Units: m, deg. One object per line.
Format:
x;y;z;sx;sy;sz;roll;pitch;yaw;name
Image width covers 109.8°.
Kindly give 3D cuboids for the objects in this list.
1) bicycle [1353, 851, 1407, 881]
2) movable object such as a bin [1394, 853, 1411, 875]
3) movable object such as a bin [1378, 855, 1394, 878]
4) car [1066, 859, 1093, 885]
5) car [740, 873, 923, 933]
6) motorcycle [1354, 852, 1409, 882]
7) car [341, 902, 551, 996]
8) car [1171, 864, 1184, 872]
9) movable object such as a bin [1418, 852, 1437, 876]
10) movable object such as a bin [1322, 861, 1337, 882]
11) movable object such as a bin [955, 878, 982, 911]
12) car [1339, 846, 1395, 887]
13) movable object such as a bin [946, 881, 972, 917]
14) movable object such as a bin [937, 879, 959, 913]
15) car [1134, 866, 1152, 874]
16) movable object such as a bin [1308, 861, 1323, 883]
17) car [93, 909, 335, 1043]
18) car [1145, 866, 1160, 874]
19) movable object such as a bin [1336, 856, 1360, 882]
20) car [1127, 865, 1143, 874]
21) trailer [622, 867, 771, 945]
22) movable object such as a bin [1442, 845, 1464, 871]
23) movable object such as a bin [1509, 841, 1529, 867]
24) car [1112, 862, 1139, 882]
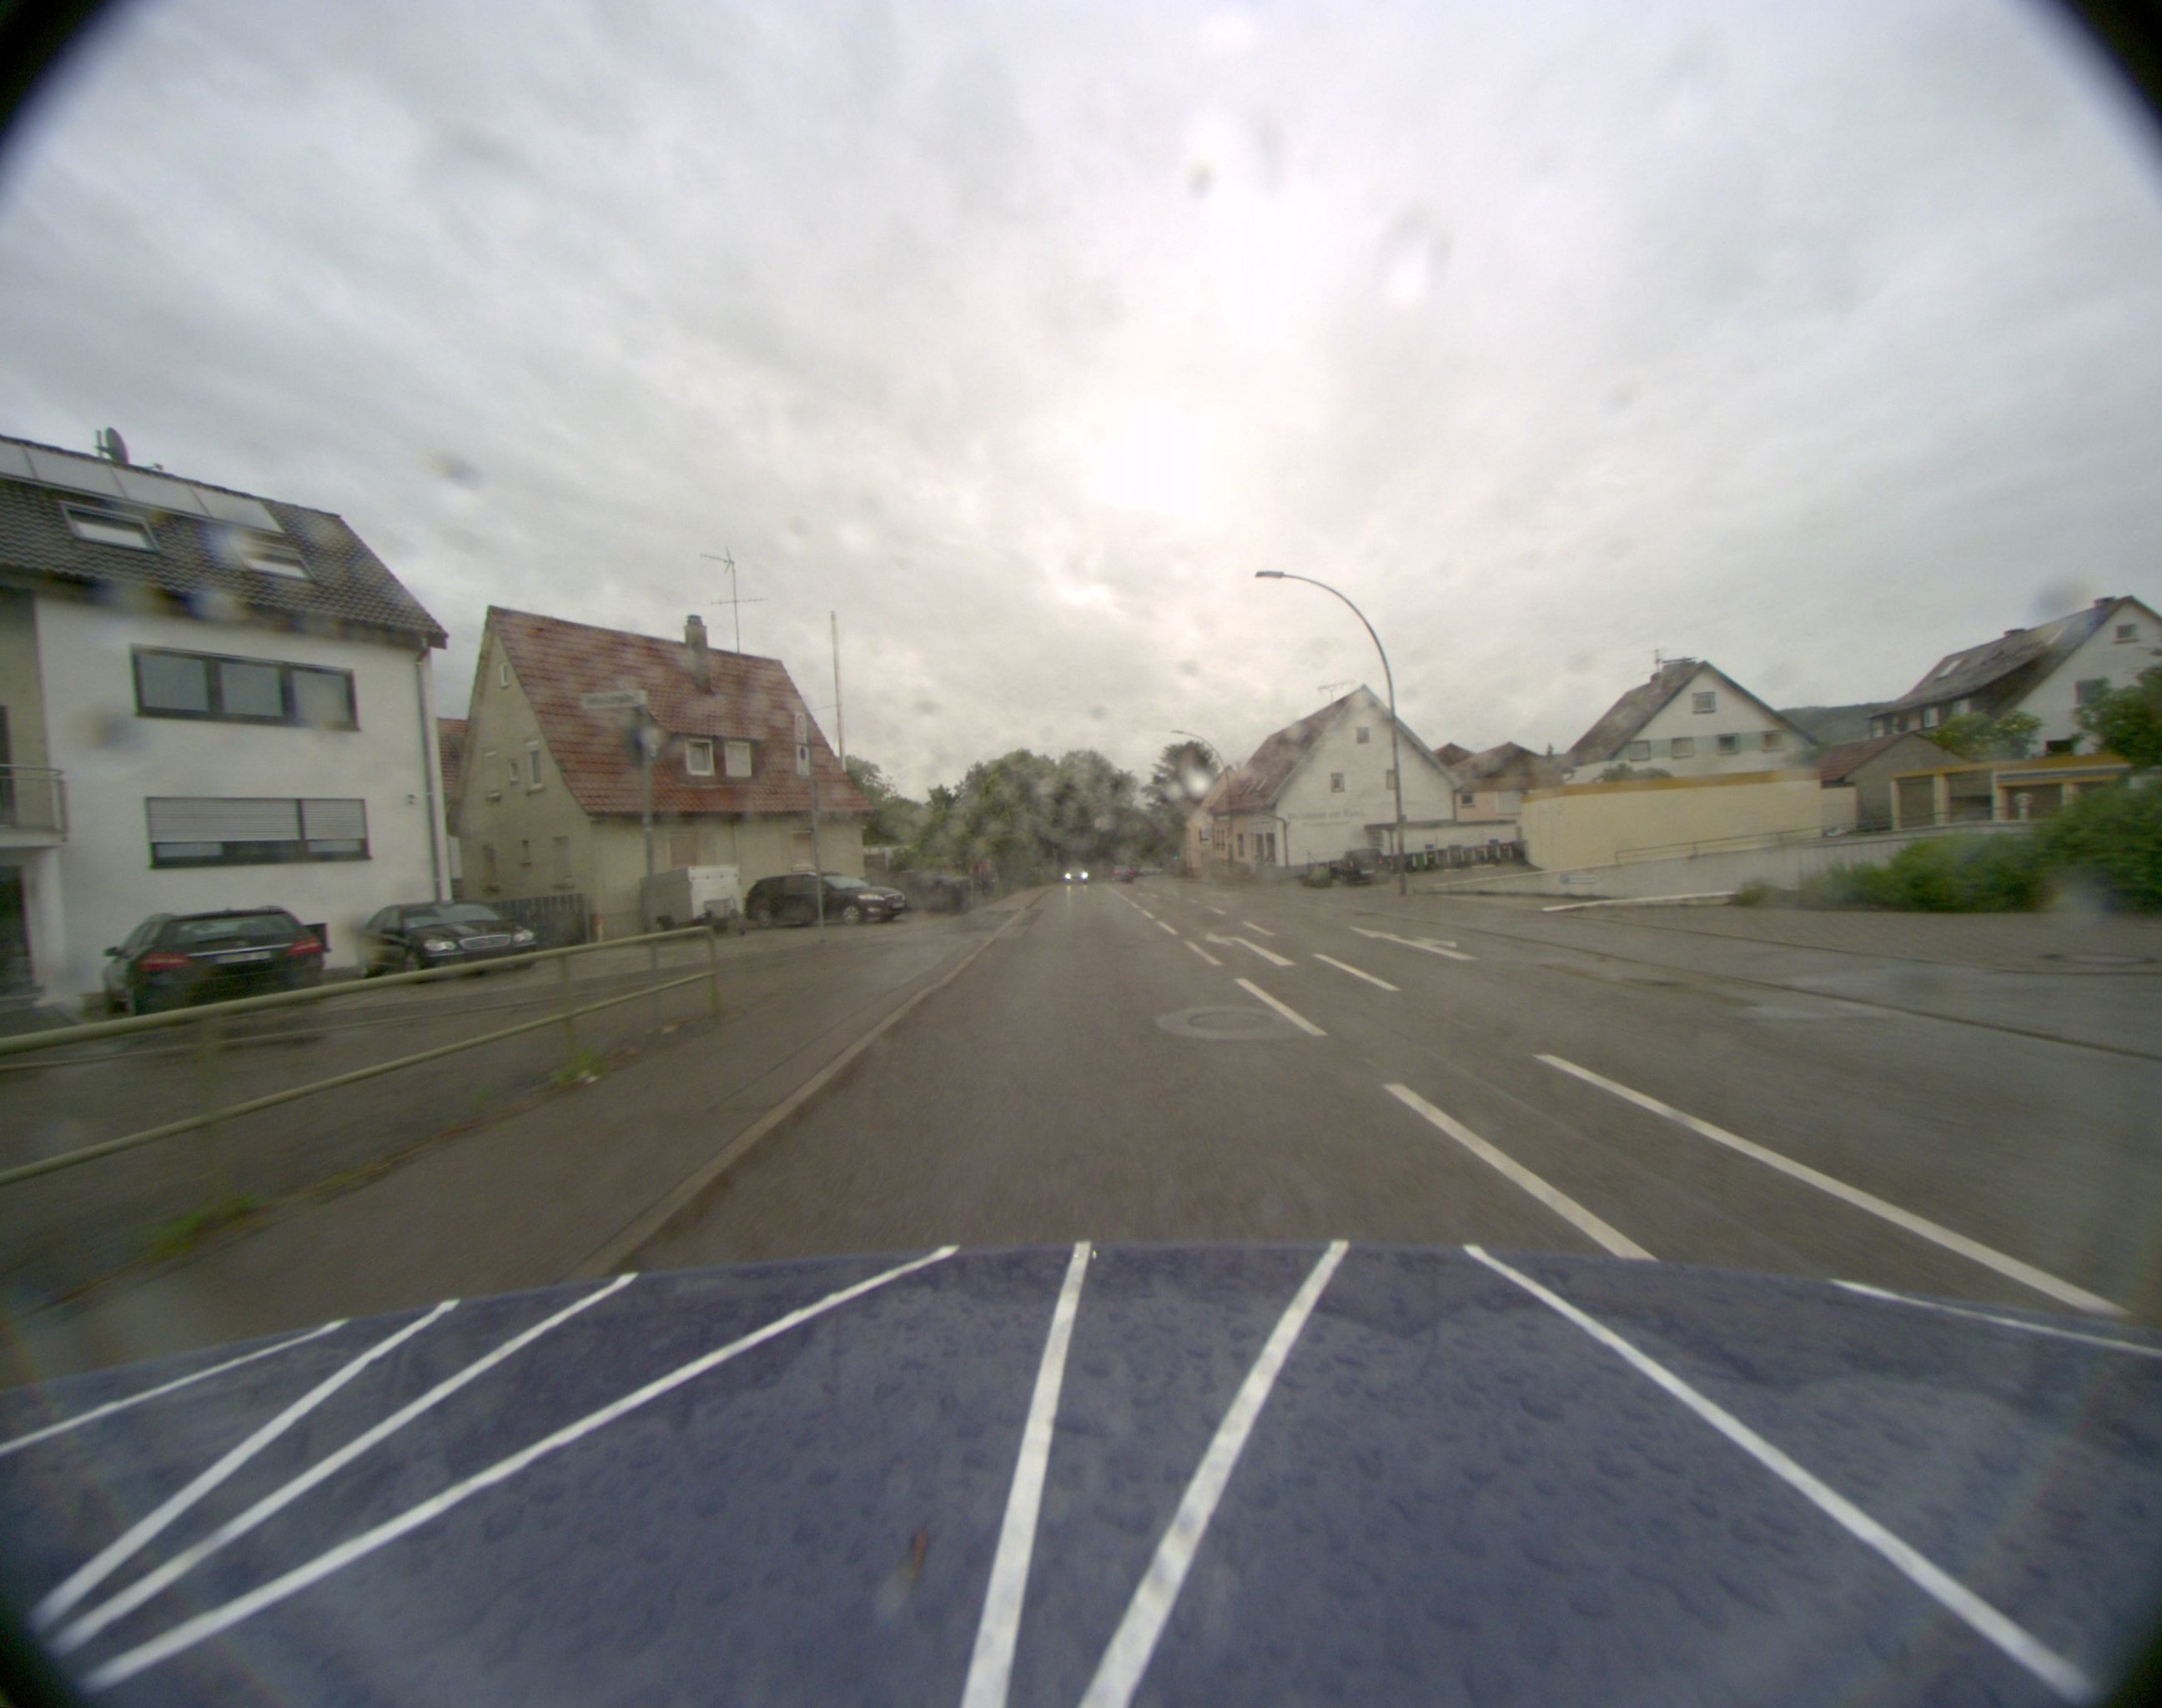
13.391;0.544;34.073;2.101;1.107;0.738;-6;1;17;bicycle
15.120;0.454;35.703;0.639;1.026;0.605;-1;0;14;movable object such as a bin
14.399;0.588;35.895;0.639;1.026;0.605;-1;0;14;movable object such as a bin
-0.127;1.500;64.974;1.998;2.002;4.001;-2;0;3;car
-6.975;1.372;21.235;4.562;1.375;2.003;-4;-1;21;car
13.171;0.560;33.356;2.113;1.107;0.781;-6;0;17;motorcycle
-11.784;1.650;14.018;4.389;1.316;1.788;-3;1;35;car
20.104;2.980;157.764;1.831;1.620;4.160;-1;-1;20;car
16.068;0.466;35.213;0.639;1.026;0.605;-4;-1;13;movable object such as a bin
11.964;0.841;36.579;0.639;1.026;0.605;-1;0;14;movable object such as a bin
-3.527;1.260;23.843;0.530;1.015;0.734;-1;0;19;movable object such as a bin
11.687;0.498;31.258;1.904;1.433;3.834;-4;-2;19;car
-3.595;1.319;22.439;0.628;1.015;0.541;-1;0;5;movable object such as a bin
-4.166;1.312;23.816;0.443;1.015;0.525;-1;0;21;movable object such as a bin
10.982;2.793;134.531;1.995;1.410;4.492;-1;-1;20;car
11.325;0.874;36.758;0.639;1.026;0.674;-1;0;14;movable object such as a bin
-13.357;1.716;11.656;3.989;1.456;1.875;-3;3;35;car
13.160;2.855;139.777;1.761;1.410;4.160;-1;-1;21;car
12.794;0.714;36.375;0.640;1.024;0.605;-27;-6;12;movable object such as a bin
9.202;2.665;129.293;1.791;1.523;3.806;-1;-1;20;car
-10.035;1.346;19.817;3.454;1.788;1.691;-3;1;29;trailer
17.102;0.195;34.949;0.639;1.123;0.605;-8;-2;14;movable object such as a bin
18.910;0.001;32.829;0.670;1.072;0.625;-1;0;23;movable object such as a bin
3.545;1.453;61.311;1.949;1.564;4.227;-2;-1;0;car
